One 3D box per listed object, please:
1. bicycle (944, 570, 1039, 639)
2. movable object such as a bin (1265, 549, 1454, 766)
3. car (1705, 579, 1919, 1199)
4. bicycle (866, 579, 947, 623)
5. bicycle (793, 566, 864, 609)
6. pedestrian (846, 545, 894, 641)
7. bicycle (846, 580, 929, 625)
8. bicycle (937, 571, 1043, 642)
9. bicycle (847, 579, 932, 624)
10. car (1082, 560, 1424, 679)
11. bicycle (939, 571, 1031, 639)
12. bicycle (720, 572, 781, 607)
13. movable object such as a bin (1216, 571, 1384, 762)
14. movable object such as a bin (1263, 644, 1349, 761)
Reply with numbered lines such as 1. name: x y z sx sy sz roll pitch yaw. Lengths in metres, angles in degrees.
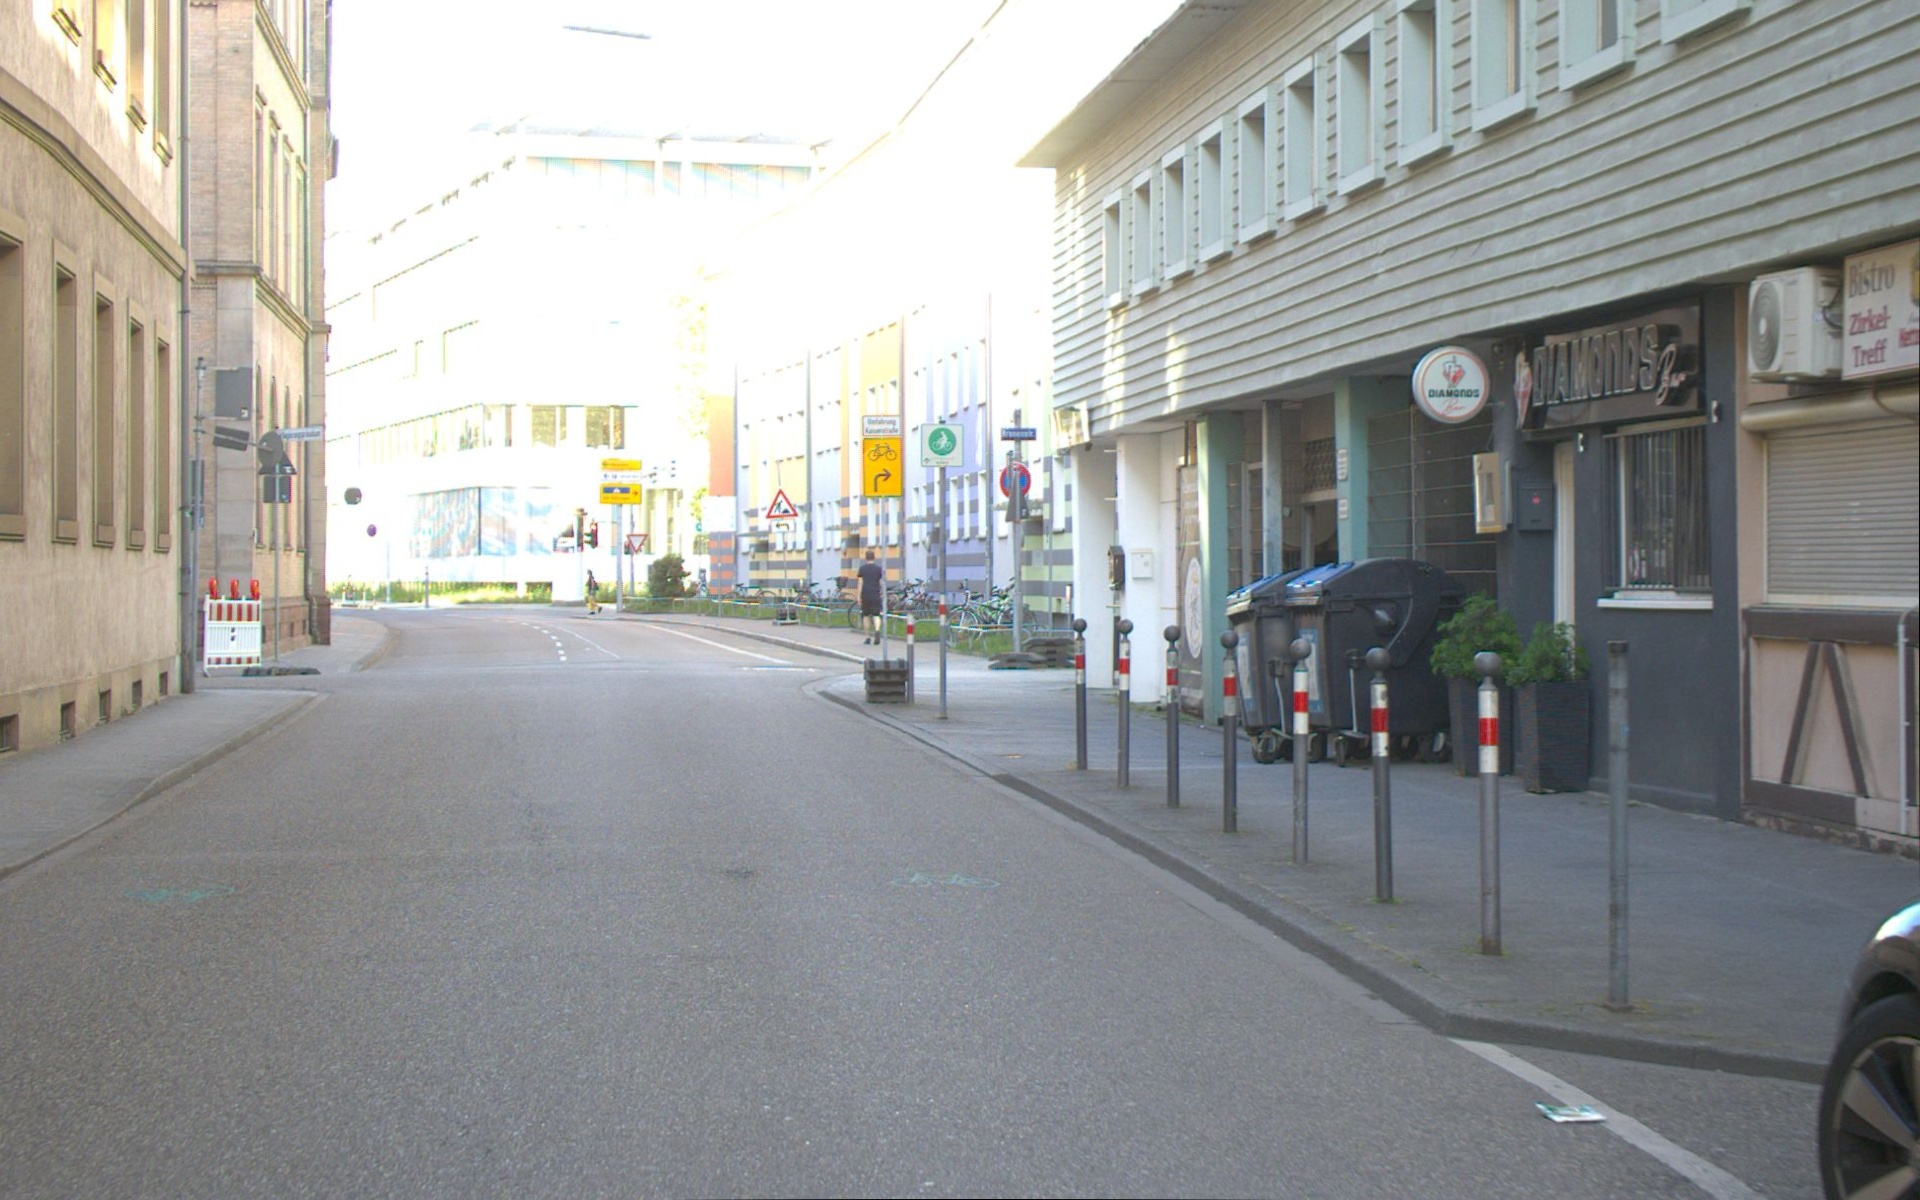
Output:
1. bicycle: 0.562 0.081 61.811 1.640 1.137 0.283 -4 1 -16
2. movable object such as a bin: 2.835 0.418 24.575 0.981 1.475 1.551 -2 -1 -6
3. car: 2.842 0.739 5.677 1.883 1.484 4.369 1 1 -6
4. bicycle: -1.189 0.017 75.991 1.748 0.943 0.326 -1 0 -7
5. bicycle: -3.471 -0.335 90.732 1.810 1.133 0.552 0 0 -10
6. pedestrian: -1.695 -0.142 64.774 0.696 1.754 1.189 -3 1 -8
7. bicycle: -1.584 0.046 74.861 1.748 0.943 0.552 -1 0 -8
8. bicycle: 0.528 0.109 60.381 1.748 1.137 0.552 -3 1 -8
9. bicycle: -1.526 0.028 74.167 1.748 0.943 0.552 -1 0 -8
10. car: 3.750 0.240 44.371 4.077 1.477 1.866 0 0 -8
11. bicycle: 0.460 0.082 62.069 1.602 1.137 0.237 -4 1 -16
12. bicycle: -6.389 -0.318 104.702 1.753 1.000 0.613 -2 0 -13
13. movable object such as a bin: 2.563 0.507 26.081 0.981 1.380 1.321 -2 -2 -6
14. movable object such as a bin: 2.725 0.805 27.115 0.556 0.896 0.523 -2 -2 -6
